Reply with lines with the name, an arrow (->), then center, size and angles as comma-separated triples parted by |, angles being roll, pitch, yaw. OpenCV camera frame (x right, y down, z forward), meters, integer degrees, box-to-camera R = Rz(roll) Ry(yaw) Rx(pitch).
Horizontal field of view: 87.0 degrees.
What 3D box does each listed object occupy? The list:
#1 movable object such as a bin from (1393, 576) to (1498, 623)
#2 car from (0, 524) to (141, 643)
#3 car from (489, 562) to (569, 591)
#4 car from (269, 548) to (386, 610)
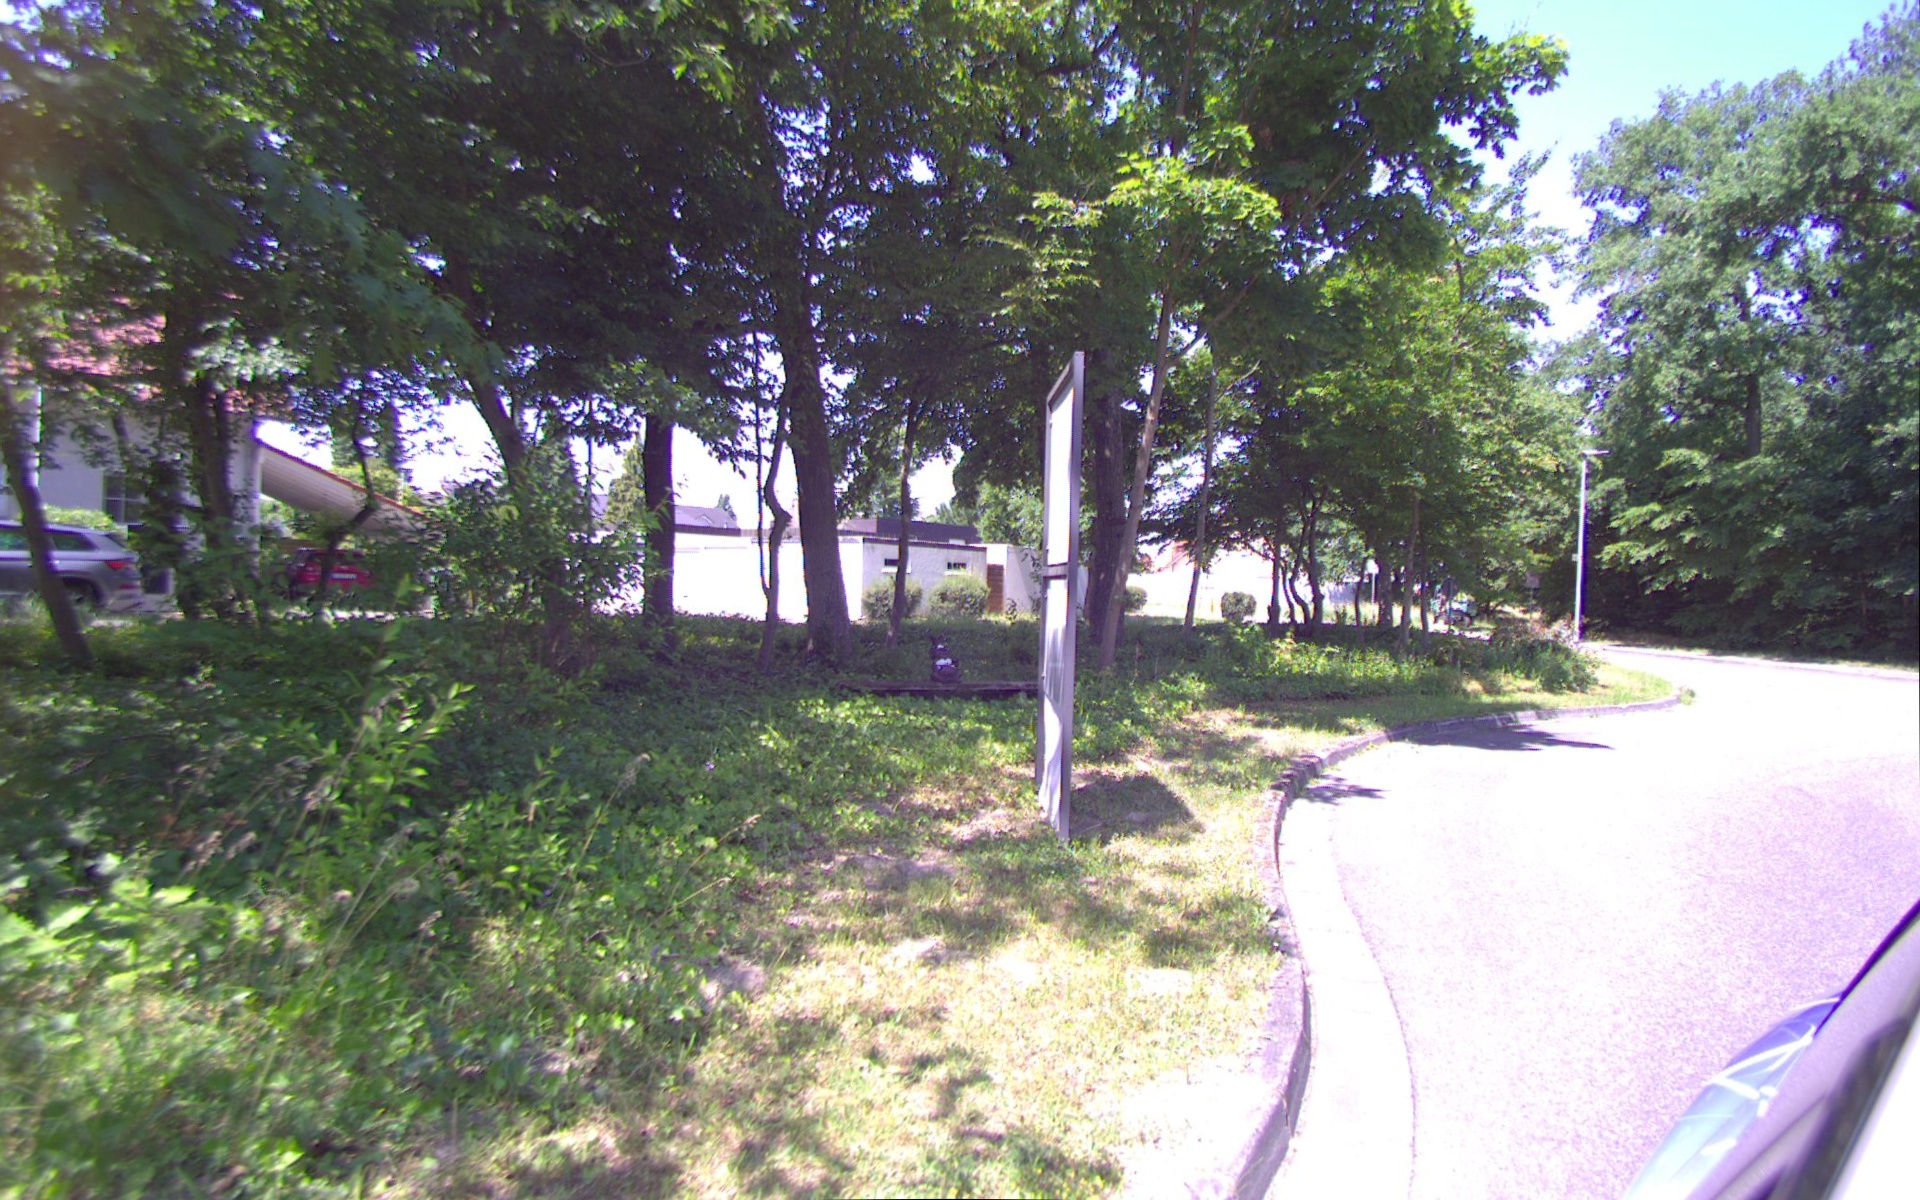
movable object such as a bin -> 26.515, -0.079, 55.555 | 2.471, 2.305, 5.250 | 2, 1, -11
car -> -14.871, -0.271, 14.931 | 1.659, 1.726, 4.082 | 2, 1, 41
car -> -20.950, -1.132, 49.273 | 1.567, 1.269, 3.230 | 3, 1, 40
car -> -15.764, -0.542, 25.148 | 3.684, 1.402, 1.657 | 3, 1, 45
